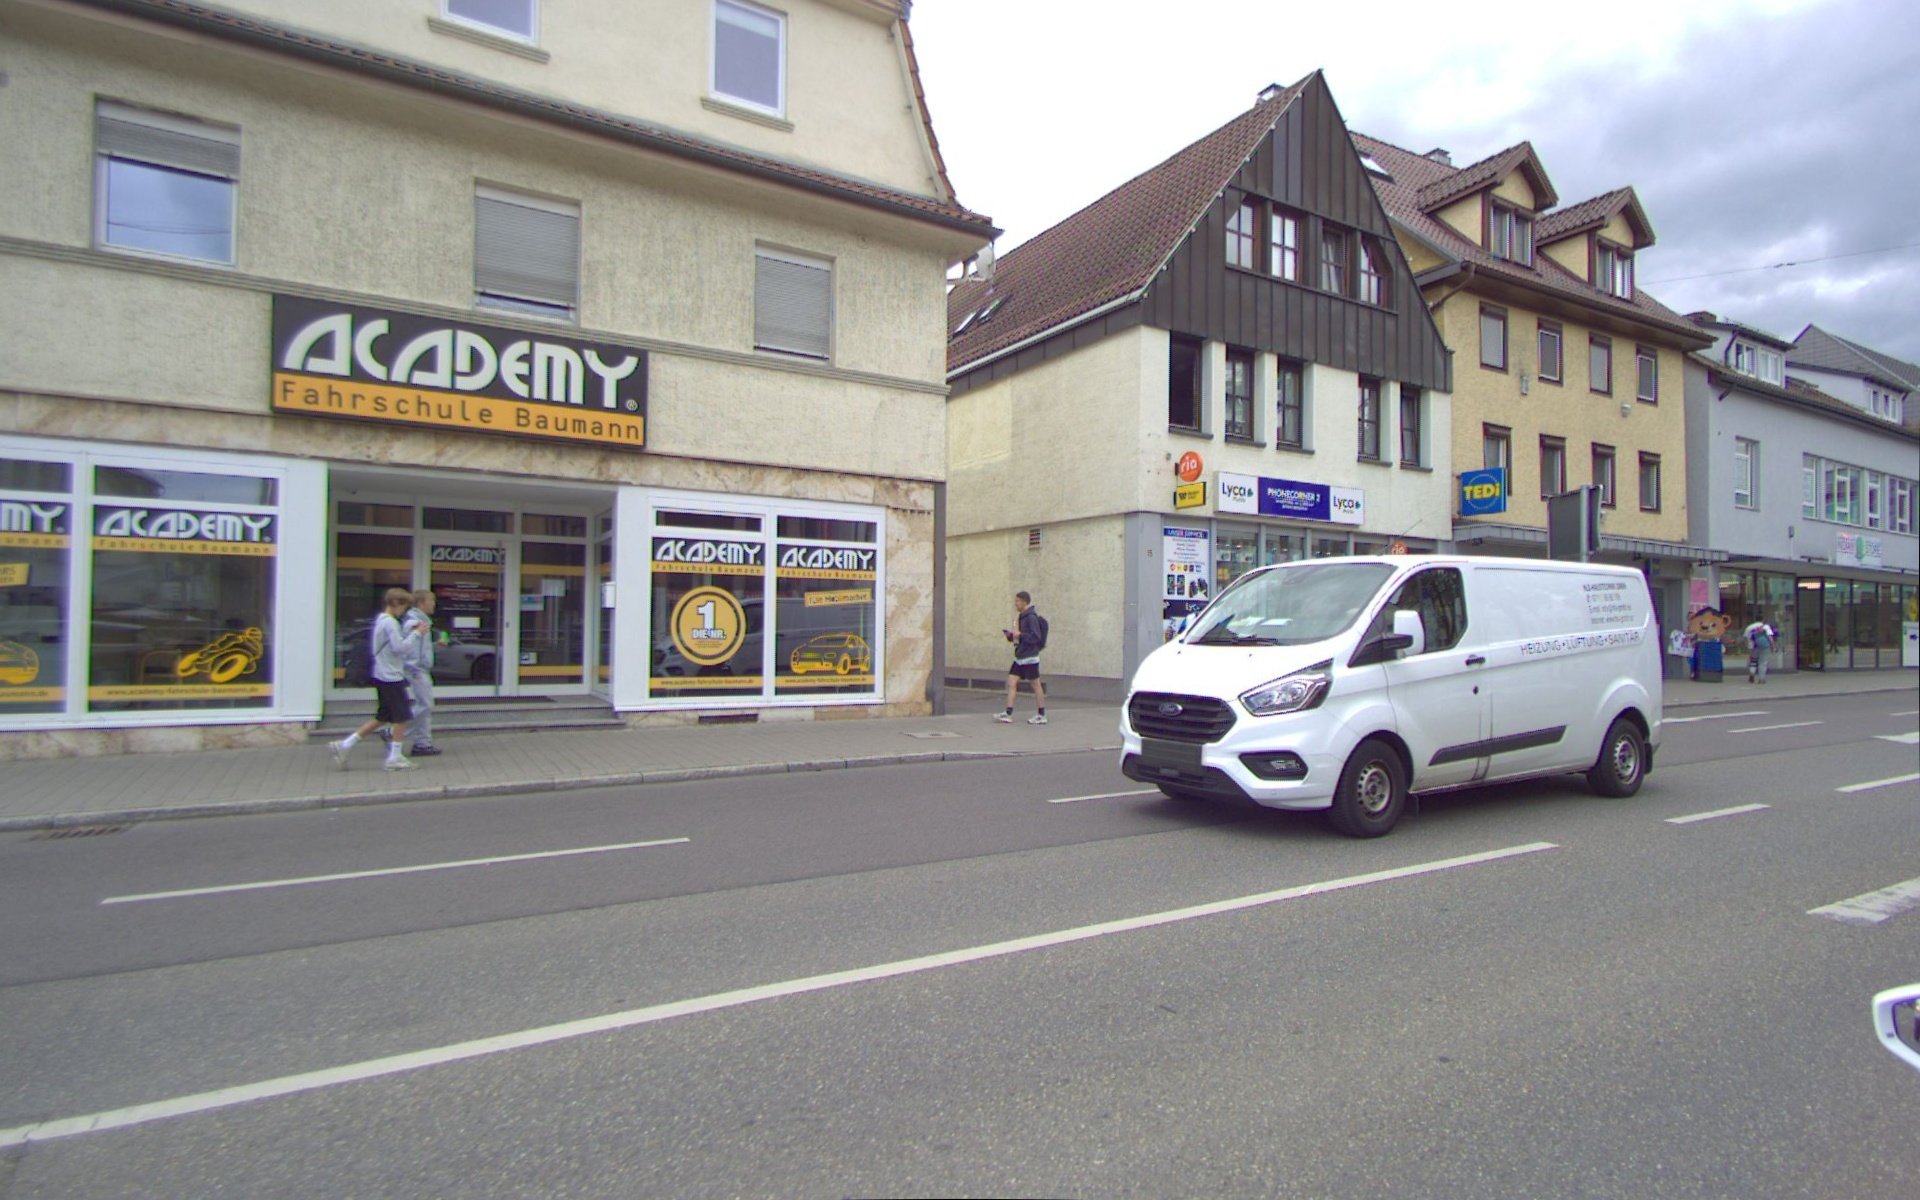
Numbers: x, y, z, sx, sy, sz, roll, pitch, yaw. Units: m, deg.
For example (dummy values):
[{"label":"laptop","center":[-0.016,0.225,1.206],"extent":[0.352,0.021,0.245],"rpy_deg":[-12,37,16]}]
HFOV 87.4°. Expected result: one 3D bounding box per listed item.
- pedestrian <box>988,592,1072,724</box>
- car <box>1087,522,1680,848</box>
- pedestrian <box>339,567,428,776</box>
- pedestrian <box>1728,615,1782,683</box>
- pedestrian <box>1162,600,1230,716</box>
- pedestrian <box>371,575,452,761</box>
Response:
[{"label":"pedestrian","center":[0.987,0.792,14.250],"extent":[0.798,1.770,0.861],"rpy_deg":[0,2,-35]},{"label":"car","center":[3.650,0.609,8.328],"extent":[5.082,1.986,1.951],"rpy_deg":[1,-3,-32]},{"label":"pedestrian","center":[-5.356,0.648,9.342],"extent":[0.673,1.848,0.630],"rpy_deg":[1,-2,-30]},{"label":"pedestrian","center":[20.353,1.235,25.707],"extent":[0.971,1.656,0.811],"rpy_deg":[1,1,-36]},{"label":"pedestrian","center":[3.752,0.905,16.043],"extent":[0.791,1.770,0.869],"rpy_deg":[1,2,-4]},{"label":"pedestrian","center":[-5.522,0.656,10.112],"extent":[0.673,1.785,0.684],"rpy_deg":[1,0,-30]}]
